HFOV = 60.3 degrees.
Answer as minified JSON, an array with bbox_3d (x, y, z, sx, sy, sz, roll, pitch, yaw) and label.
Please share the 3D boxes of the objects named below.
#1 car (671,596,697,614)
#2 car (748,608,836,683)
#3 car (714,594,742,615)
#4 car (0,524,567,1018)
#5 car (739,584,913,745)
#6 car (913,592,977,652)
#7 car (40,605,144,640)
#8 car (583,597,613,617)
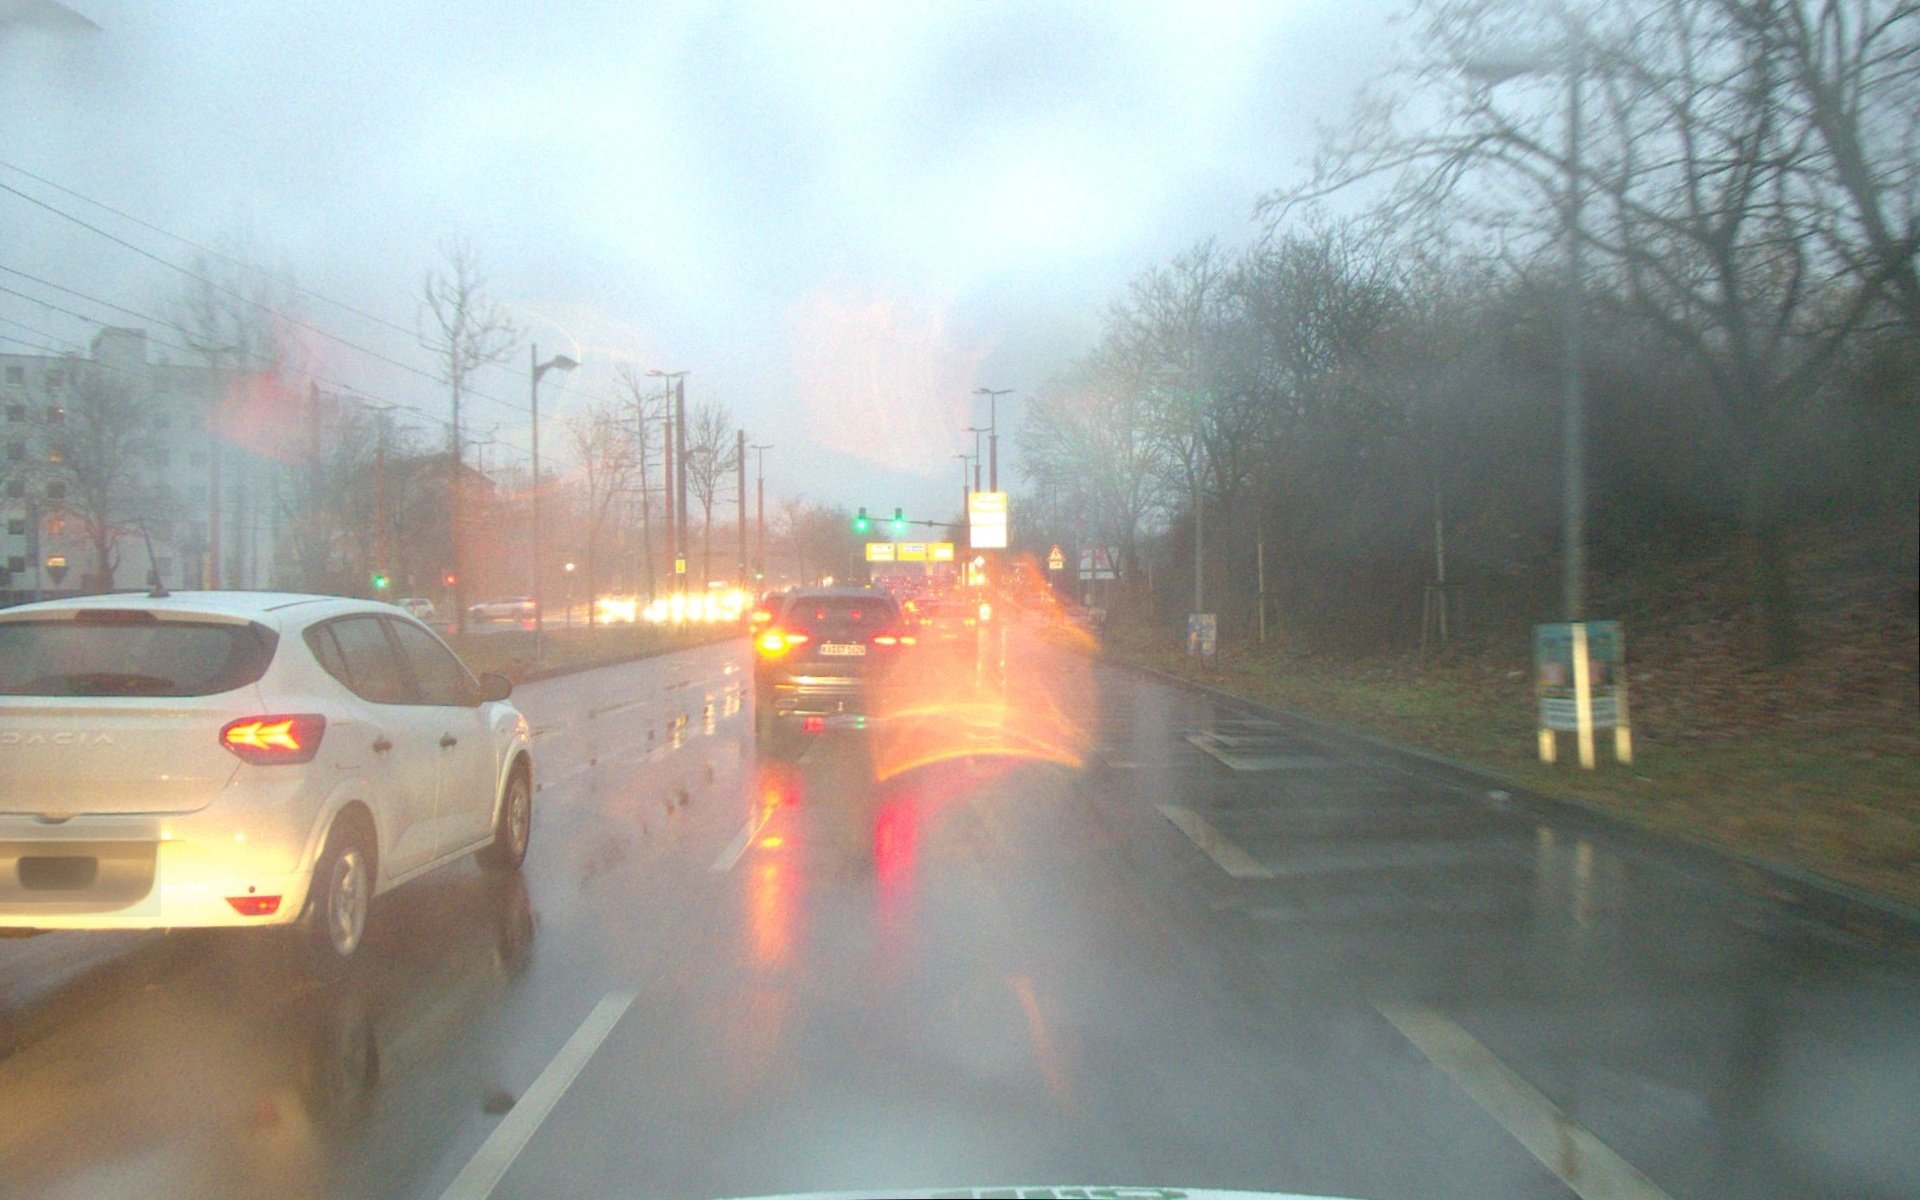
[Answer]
[{"bbox_3d":[-22.147,0.397,132.710,1.619,1.445,3.325,-1,0,-3],"label":"car"},{"bbox_3d":[-4.019,1.060,40.090,1.785,1.677,3.999,0,0,-1],"label":"car"},{"bbox_3d":[-18.490,0.307,131.841,1.820,1.609,4.077,-1,0,-3],"label":"car"},{"bbox_3d":[-3.129,0.579,7.718,1.679,1.677,4.146,0,0,-1],"label":"car"},{"bbox_3d":[-1.464,0.673,19.590,1.785,1.677,4.465,0,0,-1],"label":"car"},{"bbox_3d":[-0.458,0.604,48.575,1.785,1.677,4.465,0,0,-1],"label":"car"},{"bbox_3d":[-41.837,1.071,79.773,4.377,1.571,1.834,-1,0,-29],"label":"car"},{"bbox_3d":[-28.701,0.528,131.112,1.586,1.521,4.016,-1,0,-1],"label":"car"}]
